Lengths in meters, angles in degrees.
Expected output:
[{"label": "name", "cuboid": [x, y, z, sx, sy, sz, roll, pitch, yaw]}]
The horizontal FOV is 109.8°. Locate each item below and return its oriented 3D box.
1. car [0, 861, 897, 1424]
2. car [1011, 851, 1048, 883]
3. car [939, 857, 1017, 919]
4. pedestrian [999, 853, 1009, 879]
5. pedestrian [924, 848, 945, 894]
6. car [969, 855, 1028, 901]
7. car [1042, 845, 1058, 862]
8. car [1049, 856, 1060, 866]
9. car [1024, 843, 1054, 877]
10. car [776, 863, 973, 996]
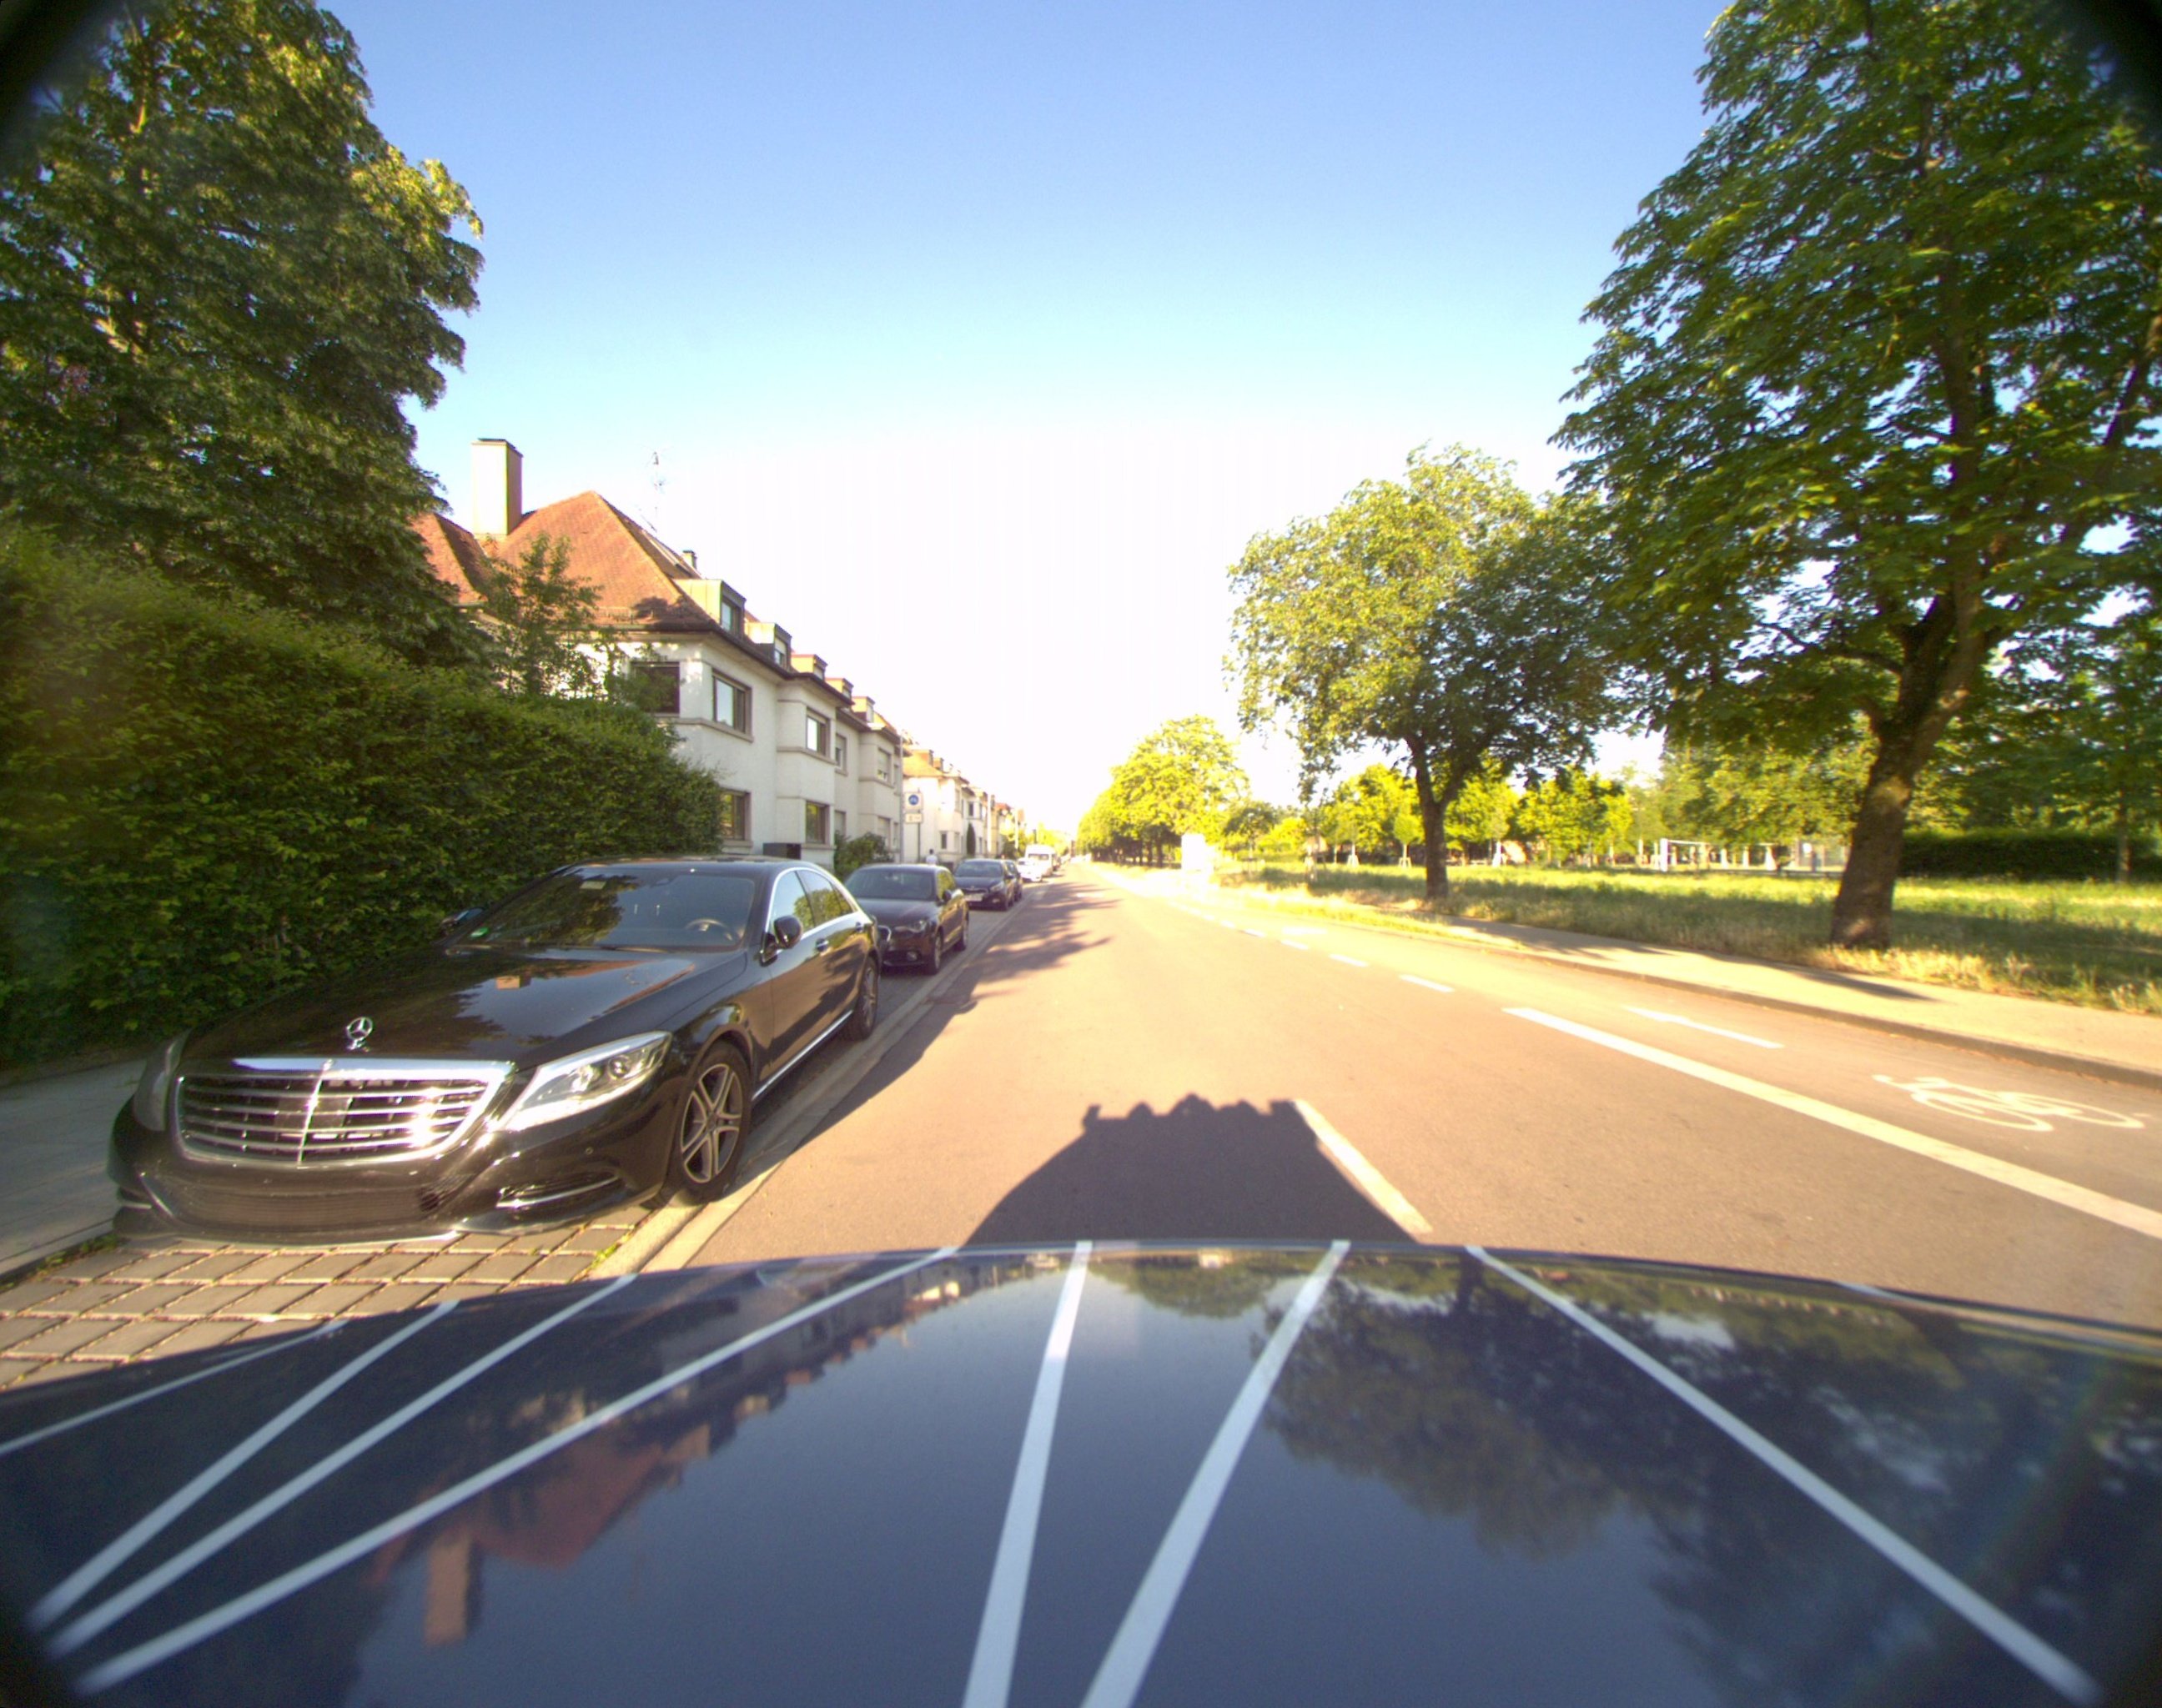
[{"label": "car", "cuboid": [-2.608, 0.852, 4.586, 2.009, 1.490, 4.913, 2, 0, -3]}, {"label": "car", "cuboid": [-3.117, 0.746, 46.701, 1.999, 1.775, 3.998, -2, 1, -1]}, {"label": "car", "cuboid": [-2.934, 0.929, 22.441, 1.796, 1.586, 4.076, -2, 0, -1]}, {"label": "pedestrian", "cuboid": [-5.278, 0.834, 52.134, 0.531, 1.788, 0.589, -2, 1, -2]}, {"label": "pedestrian", "cuboid": [-5.993, 0.699, 31.092, 0.587, 1.836, 0.823, -2, 2, 1]}, {"label": "car", "cuboid": [-2.939, 0.829, 27.740, 1.680, 1.525, 3.471, -2, 0, 1]}, {"label": "car", "cuboid": [-3.641, -0.116, 89.242, 1.708, 1.848, 3.712, -2, 1, 0]}, {"label": "car", "cuboid": [-4.125, 1.041, 117.452, 1.682, 1.543, 3.842, 1, 0, -3]}, {"label": "car", "cuboid": [-3.253, 0.394, 59.996, 2.132, 2.461, 5.722, -2, 1, -1]}, {"label": "car", "cuboid": [-2.733, 0.920, 11.016, 1.784, 1.469, 3.999, -2, 0, -1]}]
